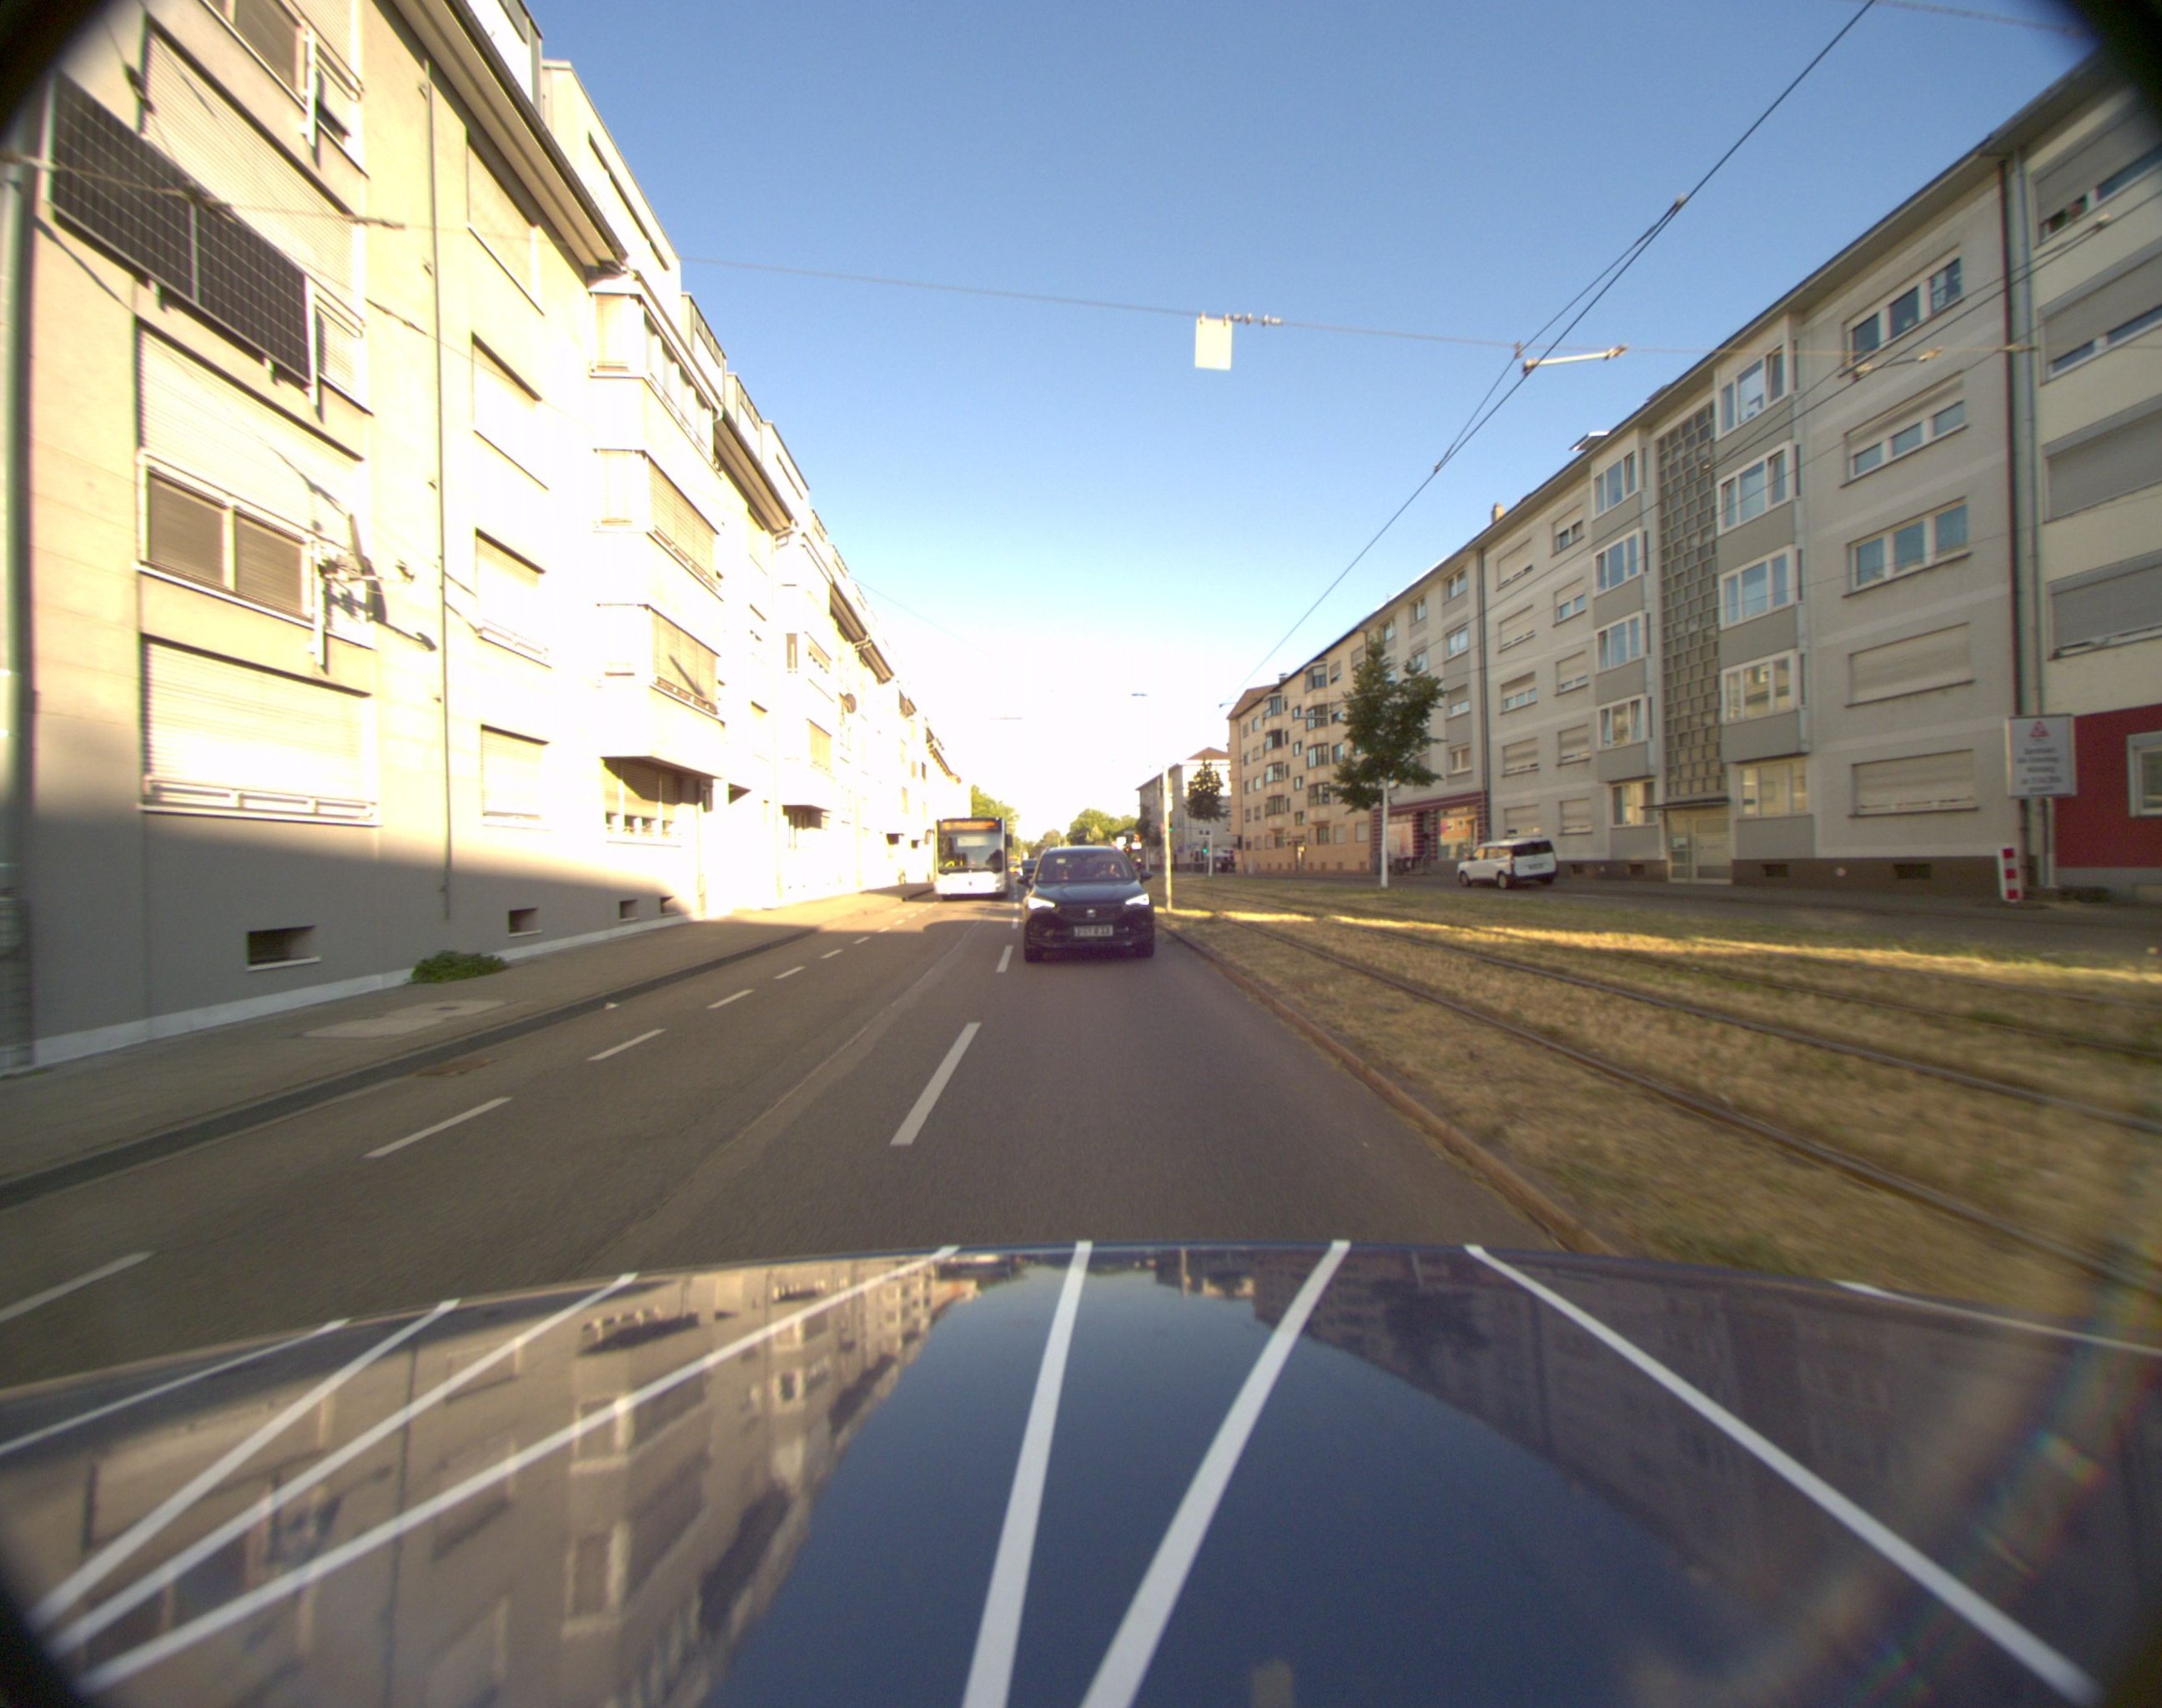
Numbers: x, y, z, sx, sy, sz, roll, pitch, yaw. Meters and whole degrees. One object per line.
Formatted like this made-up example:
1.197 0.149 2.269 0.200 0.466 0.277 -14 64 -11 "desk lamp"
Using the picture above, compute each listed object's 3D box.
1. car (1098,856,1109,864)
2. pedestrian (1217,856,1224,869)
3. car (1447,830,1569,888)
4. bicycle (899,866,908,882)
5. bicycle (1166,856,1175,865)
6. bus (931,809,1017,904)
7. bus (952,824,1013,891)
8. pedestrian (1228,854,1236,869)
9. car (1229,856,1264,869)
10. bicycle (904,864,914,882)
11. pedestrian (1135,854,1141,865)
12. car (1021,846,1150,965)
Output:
4.731 1.240 162.410 1.923 1.581 4.467 -1 -1 -5 "car"
15.939 1.013 86.913 0.624 1.481 0.582 -2 1 -5 "pedestrian"
16.285 0.186 29.279 1.871 1.818 4.420 -8 0 -2 "car"
-10.960 1.206 46.942 0.279 0.965 1.729 2 0 -5 "bicycle"
13.373 0.938 113.480 0.580 1.370 3.235 -1 0 -6 "bicycle"
-4.140 0.116 30.905 2.733 3.059 10.595 -3 0 -6 "bus"
-5.225 0.200 41.468 2.713 3.059 10.595 -3 0 -6 "bus"
17.111 0.845 85.966 0.634 1.760 0.826 -1 0 25 "pedestrian"
21.144 1.047 97.098 4.000 1.499 1.999 -1 0 -8 "car"
-10.538 1.165 46.658 0.361 1.026 1.729 2 0 -5 "bicycle"
9.828 0.937 130.324 0.743 1.730 1.225 -1 0 -5 "pedestrian"
-0.027 0.721 13.109 1.788 1.615 4.214 -3 1 -3 "car"
